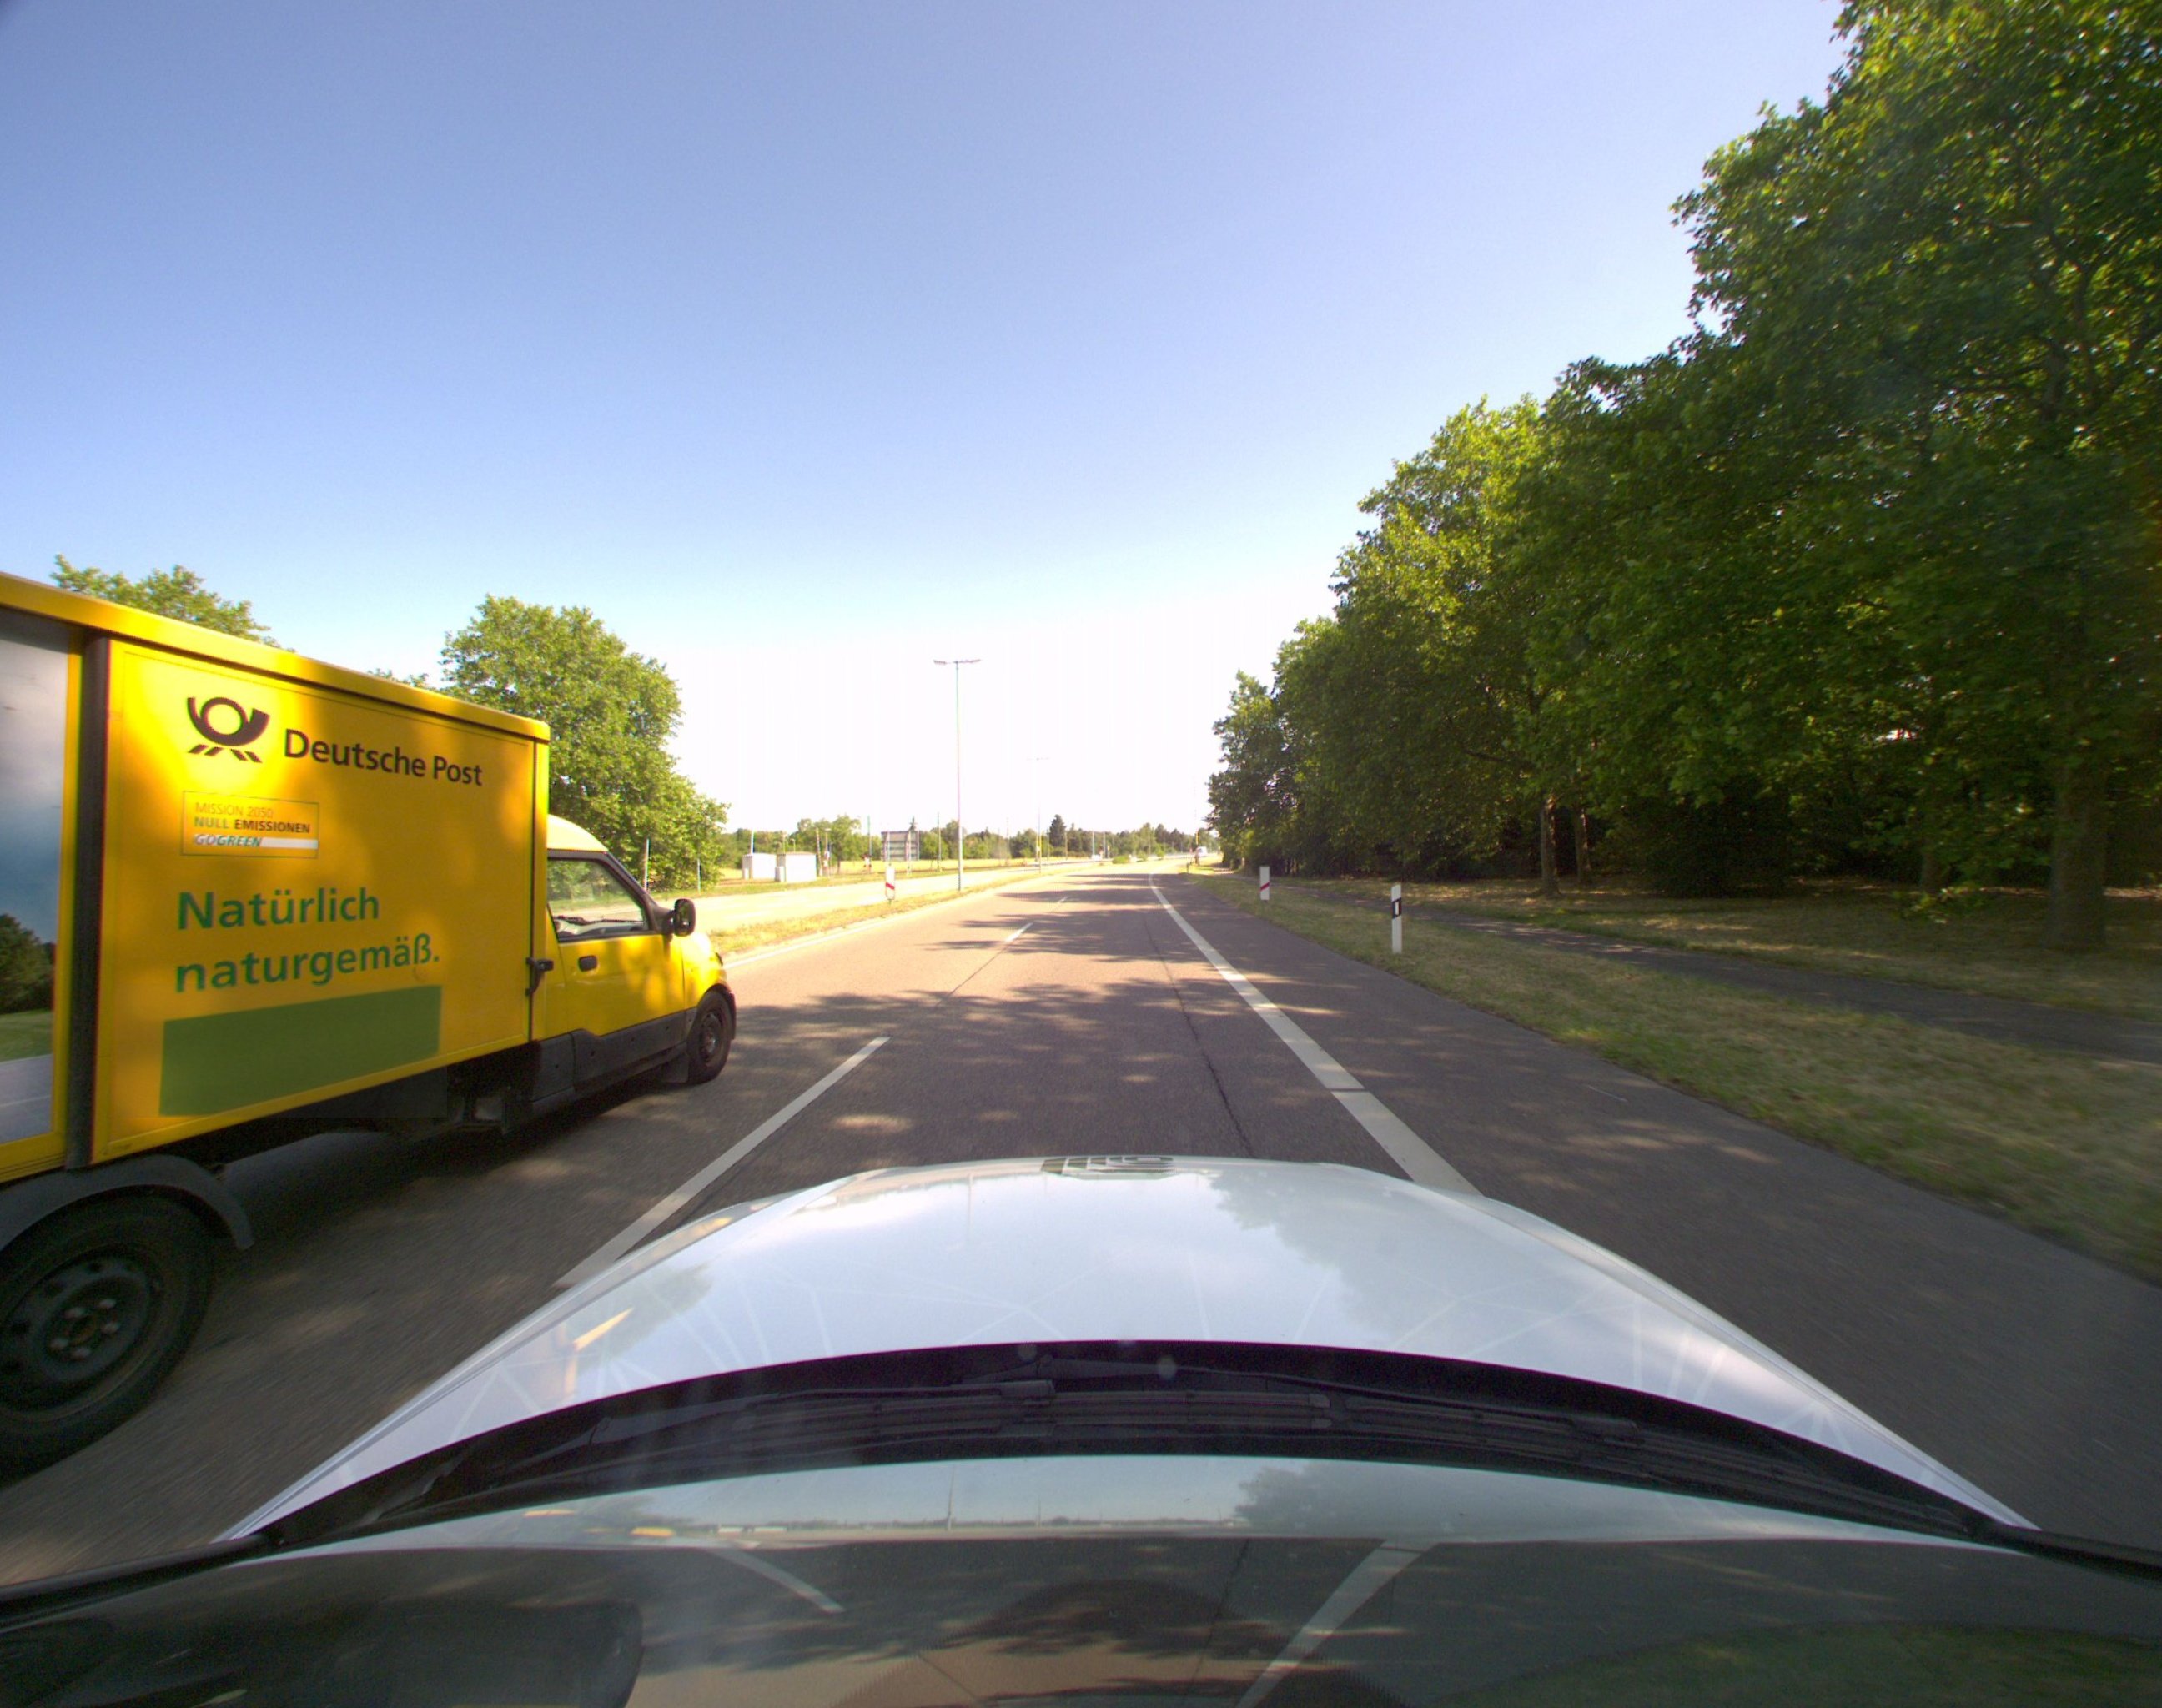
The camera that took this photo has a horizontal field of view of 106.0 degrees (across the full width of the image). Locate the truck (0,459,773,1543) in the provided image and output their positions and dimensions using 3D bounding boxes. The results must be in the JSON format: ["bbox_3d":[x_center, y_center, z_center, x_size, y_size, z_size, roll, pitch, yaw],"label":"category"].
[{"bbox_3d":[-3.502,0.345,3.450,2.105,2.457,5.916,-1,0,0],"label":"truck"}]
